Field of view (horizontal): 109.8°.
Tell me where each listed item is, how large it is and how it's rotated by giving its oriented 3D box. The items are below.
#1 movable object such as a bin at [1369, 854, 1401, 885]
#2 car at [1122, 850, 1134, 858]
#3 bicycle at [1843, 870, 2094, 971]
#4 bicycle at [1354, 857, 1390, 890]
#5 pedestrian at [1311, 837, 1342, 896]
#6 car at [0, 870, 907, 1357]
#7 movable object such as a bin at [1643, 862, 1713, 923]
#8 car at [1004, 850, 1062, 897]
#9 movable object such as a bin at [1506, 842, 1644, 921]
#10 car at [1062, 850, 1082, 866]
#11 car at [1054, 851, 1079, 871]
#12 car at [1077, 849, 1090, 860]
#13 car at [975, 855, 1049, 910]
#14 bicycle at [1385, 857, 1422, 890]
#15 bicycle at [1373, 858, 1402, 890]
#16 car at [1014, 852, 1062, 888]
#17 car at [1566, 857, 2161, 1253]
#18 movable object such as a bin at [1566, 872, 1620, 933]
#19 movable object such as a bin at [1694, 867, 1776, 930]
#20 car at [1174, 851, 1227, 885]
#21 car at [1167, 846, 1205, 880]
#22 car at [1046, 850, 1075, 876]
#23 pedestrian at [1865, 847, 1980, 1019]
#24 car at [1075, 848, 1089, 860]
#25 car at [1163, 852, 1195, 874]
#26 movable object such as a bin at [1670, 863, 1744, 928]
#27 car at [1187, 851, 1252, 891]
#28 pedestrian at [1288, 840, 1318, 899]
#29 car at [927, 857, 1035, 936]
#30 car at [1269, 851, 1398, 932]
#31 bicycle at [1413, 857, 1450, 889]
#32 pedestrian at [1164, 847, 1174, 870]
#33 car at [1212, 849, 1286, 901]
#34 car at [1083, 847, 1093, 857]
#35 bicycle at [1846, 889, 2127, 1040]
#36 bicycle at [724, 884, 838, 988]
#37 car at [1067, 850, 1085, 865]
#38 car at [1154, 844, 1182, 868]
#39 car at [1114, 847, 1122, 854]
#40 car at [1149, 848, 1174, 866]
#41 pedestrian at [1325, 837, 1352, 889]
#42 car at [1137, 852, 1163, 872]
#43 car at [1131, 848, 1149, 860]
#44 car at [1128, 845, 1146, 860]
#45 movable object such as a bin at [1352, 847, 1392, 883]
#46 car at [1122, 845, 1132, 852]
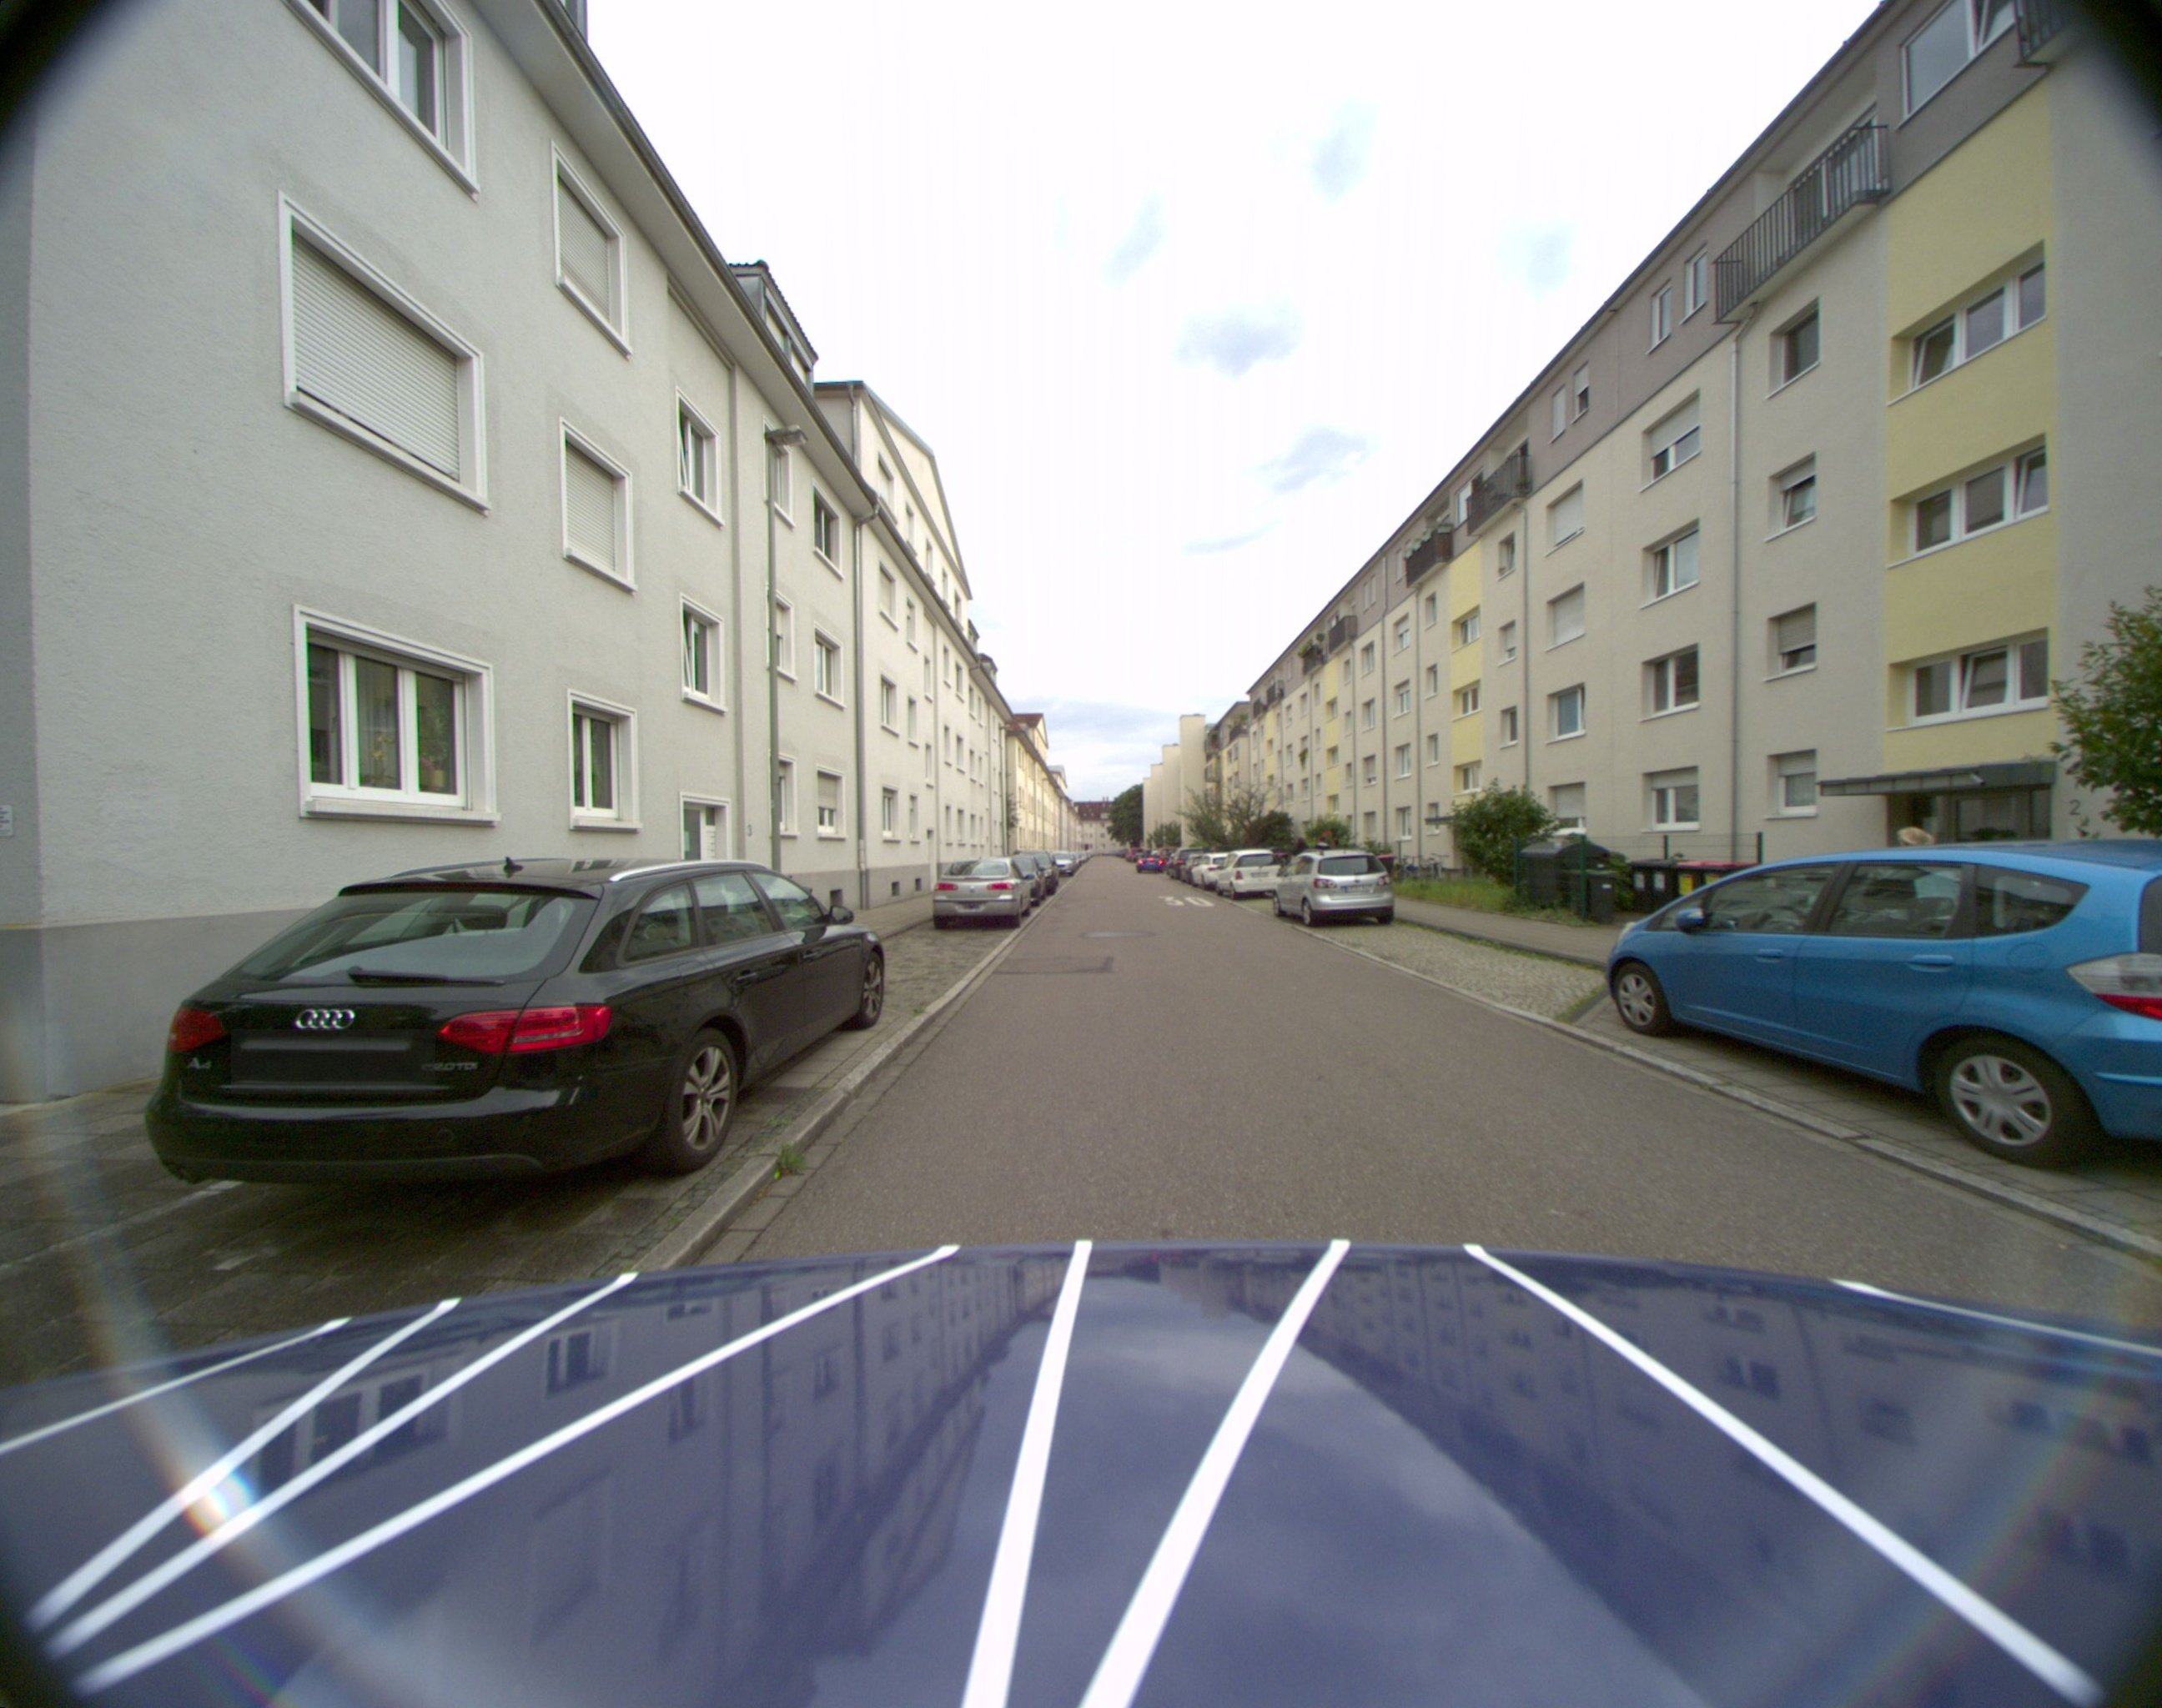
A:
[{"bbox_3d":[11.595,0.576,28.979,0.871,1.103,0.787,-2,2,-3],"label":"movable object such as a bin"},{"bbox_3d":[8.800,-0.001,143.868,1.745,1.534,3.637,-1,0,-5],"label":"car"},{"bbox_3d":[10.912,0.758,9.497,0.659,1.064,2.175,-1,0,2],"label":"bicycle"},{"bbox_3d":[9.563,0.630,25.042,0.489,1.018,1.878,-1,0,2],"label":"bicycle"},{"bbox_3d":[7.780,0.389,24.107,0.708,1.843,0.763,-1,1,1],"label":"pedestrian"},{"bbox_3d":[-2.585,0.894,4.822,1.865,1.454,4.725,0,0,0],"label":"car"},{"bbox_3d":[11.252,0.716,14.339,0.844,1.110,0.598,-1,1,-1],"label":"movable object such as a bin"},{"bbox_3d":[-1.691,0.661,27.874,1.853,1.589,4.160,0,0,0],"label":"car"},{"bbox_3d":[9.482,0.503,14.697,1.593,1.412,1.671,-1,0,1],"label":"movable object such as a bin"},{"bbox_3d":[-0.827,0.381,68.863,1.737,1.402,4.217,0,0,0],"label":"car"},{"bbox_3d":[-1.053,0.506,57.623,1.737,1.418,4.218,0,0,1],"label":"car"},{"bbox_3d":[0.384,0.060,105.526,1.737,1.443,4.217,0,0,0],"label":"car"},{"bbox_3d":[-1.931,0.763,22.408,1.786,1.454,4.322,0,0,0],"label":"car"},{"bbox_3d":[10.534,0.628,24.830,0.479,1.018,1.755,-1,0,1],"label":"bicycle"},{"bbox_3d":[10.039,0.641,24.926,0.357,1.018,1.497,-1,0,1],"label":"bicycle"},{"bbox_3d":[-1.800,0.639,32.938,1.736,1.478,3.757,0,0,1],"label":"car"},{"bbox_3d":[5.181,0.807,4.796,1.734,1.454,3.957,-3,0,2],"label":"car"},{"bbox_3d":[8.975,0.842,13.337,0.538,1.027,0.598,-1,0,0],"label":"movable object such as a bin"},{"bbox_3d":[11.192,0.750,13.022,0.866,1.045,0.634,-1,0,0],"label":"movable object such as a bin"},{"bbox_3d":[5.685,0.625,36.632,1.730,1.445,4.482,-1,1,-1],"label":"car"},{"bbox_3d":[5.845,0.493,42.658,1.575,1.769,4.452,-1,0,1],"label":"car"},{"bbox_3d":[-1.267,0.538,48.711,1.737,1.538,3.677,0,1,0],"label":"car"},{"bbox_3d":[7.835,0.710,7.094,0.447,1.541,0.568,-1,0,6],"label":"pedestrian"},{"bbox_3d":[0.087,-0.045,95.736,1.737,1.443,4.217,0,0,0],"label":"car"},{"bbox_3d":[6.350,0.582,49.460,1.575,1.389,3.542,-1,0,-1],"label":"car"},{"bbox_3d":[11.256,0.733,13.675,0.844,1.110,0.598,-1,1,-1],"label":"movable object such as a bin"},{"bbox_3d":[5.630,0.658,31.449,1.722,1.501,4.687,-1,0,-1],"label":"car"},{"bbox_3d":[7.180,0.495,24.613,0.641,1.853,0.974,-3,1,2],"label":"pedestrian"},{"bbox_3d":[-2.030,0.817,16.579,1.737,1.454,4.430,0,0,0],"label":"car"},{"bbox_3d":[5.431,0.737,16.851,1.658,1.542,3.916,-2,0,2],"label":"car"},{"bbox_3d":[11.420,0.604,24.782,0.421,1.018,1.559,-1,0,-2],"label":"bicycle"},{"bbox_3d":[6.393,0.291,55.208,0.603,1.657,0.622,-1,1,-1],"label":"pedestrian"},{"bbox_3d":[5.636,0.653,25.843,1.689,1.629,3.727,-1,0,0],"label":"car"},{"bbox_3d":[1.313,-0.409,134.538,1.737,1.670,3.591,0,0,0],"label":"car"},{"bbox_3d":[8.103,0.919,6.943,0.537,1.113,1.819,-1,0,6],"label":"bicycle"},{"bbox_3d":[-4.029,1.057,10.380,0.750,1.193,1.895,1,0,2],"label":"bicycle"},{"bbox_3d":[-0.478,0.337,76.567,1.737,1.363,4.217,0,0,0],"label":"car"},{"bbox_3d":[6.850,0.142,60.001,1.706,1.795,3.542,-1,0,-1],"label":"car"},{"bbox_3d":[9.497,-0.893,194.543,1.745,1.534,3.636,-1,0,-5],"label":"car"},{"bbox_3d":[6.981,0.254,66.190,1.706,1.436,3.542,-1,0,-1],"label":"car"},{"bbox_3d":[8.359,0.294,24.666,0.616,1.647,0.803,-1,1,1],"label":"pedestrian"},{"bbox_3d":[4.950,0.530,54.707,1.679,1.307,3.908,-1,1,2],"label":"car"},{"bbox_3d":[7.718,0.023,100.151,2.013,1.436,4.197,-1,0,-1],"label":"car"},{"bbox_3d":[7.827,-0.257,106.384,2.188,2.020,4.422,-1,0,-1],"label":"car"},{"bbox_3d":[11.483,0.421,30.046,1.059,1.367,1.189,-2,2,-3],"label":"movable object such as a bin"},{"bbox_3d":[9.567,-1.136,158.795,1.706,1.528,3.541,-1,0,-1],"label":"car"}]
